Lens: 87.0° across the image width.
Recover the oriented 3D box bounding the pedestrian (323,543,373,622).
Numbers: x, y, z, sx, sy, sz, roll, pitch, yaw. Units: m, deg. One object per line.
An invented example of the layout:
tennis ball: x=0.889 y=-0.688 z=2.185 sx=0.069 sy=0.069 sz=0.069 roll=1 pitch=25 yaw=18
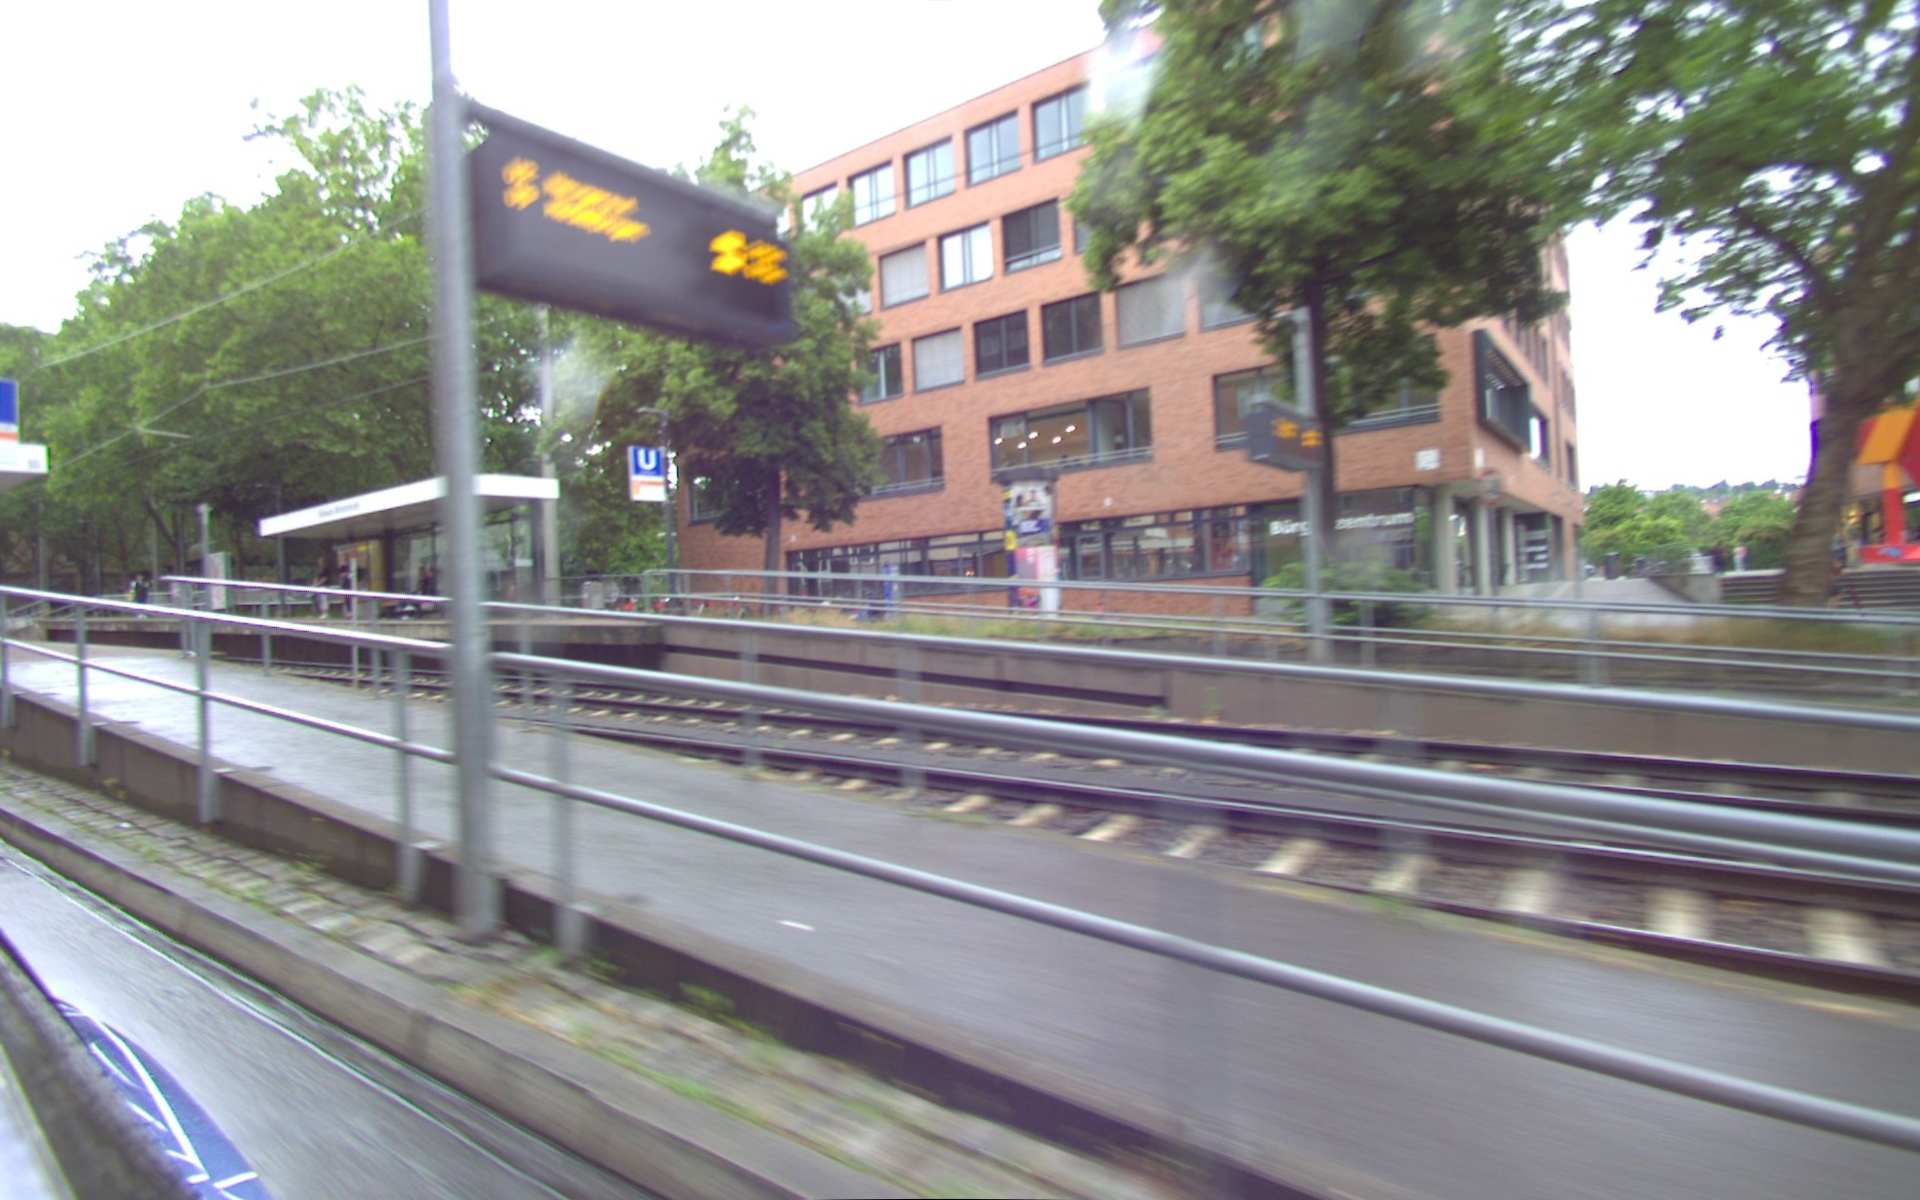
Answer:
pedestrian: x=-16.416 y=-0.465 z=27.164 sx=0.881 sy=2.078 sz=0.828 roll=-1 pitch=0 yaw=32

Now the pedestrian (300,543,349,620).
pedestrian: x=-17.497 y=-0.501 z=27.856 sx=0.881 sy=2.078 sz=0.828 roll=-1 pitch=0 yaw=32

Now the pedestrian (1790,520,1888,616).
pedestrian: x=16.659 y=-0.619 z=19.209 sx=0.779 sy=1.757 sz=1.073 roll=-1 pitch=4 yaw=-20

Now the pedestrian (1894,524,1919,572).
pedestrian: x=35.695 y=-1.953 z=38.066 sx=0.645 sy=1.743 sz=0.613 roll=-1 pitch=0 yaw=29

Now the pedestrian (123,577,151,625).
pedestrian: x=-30.953 y=0.044 z=38.051 sx=0.702 sy=1.804 sz=0.669 roll=-1 pitch=-1 yaw=36

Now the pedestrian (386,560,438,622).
pedestrian: x=-13.539 y=-0.211 z=25.009 sx=0.881 sy=1.494 sz=0.773 roll=-1 pitch=0 yaw=32

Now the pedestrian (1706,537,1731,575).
pedestrian: x=31.911 y=-1.844 z=42.574 sx=0.616 sy=1.562 sz=0.717 roll=-1 pitch=0 yaw=-41

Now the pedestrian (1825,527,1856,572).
pedestrian: x=35.596 y=-2.037 z=40.918 sx=0.724 sy=1.743 sz=0.643 roll=-1 pitch=0 yaw=24

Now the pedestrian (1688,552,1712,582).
pedestrian: x=38.950 y=-1.735 z=53.262 sx=0.841 sy=1.542 sz=0.731 roll=-1 pitch=0 yaw=-28
